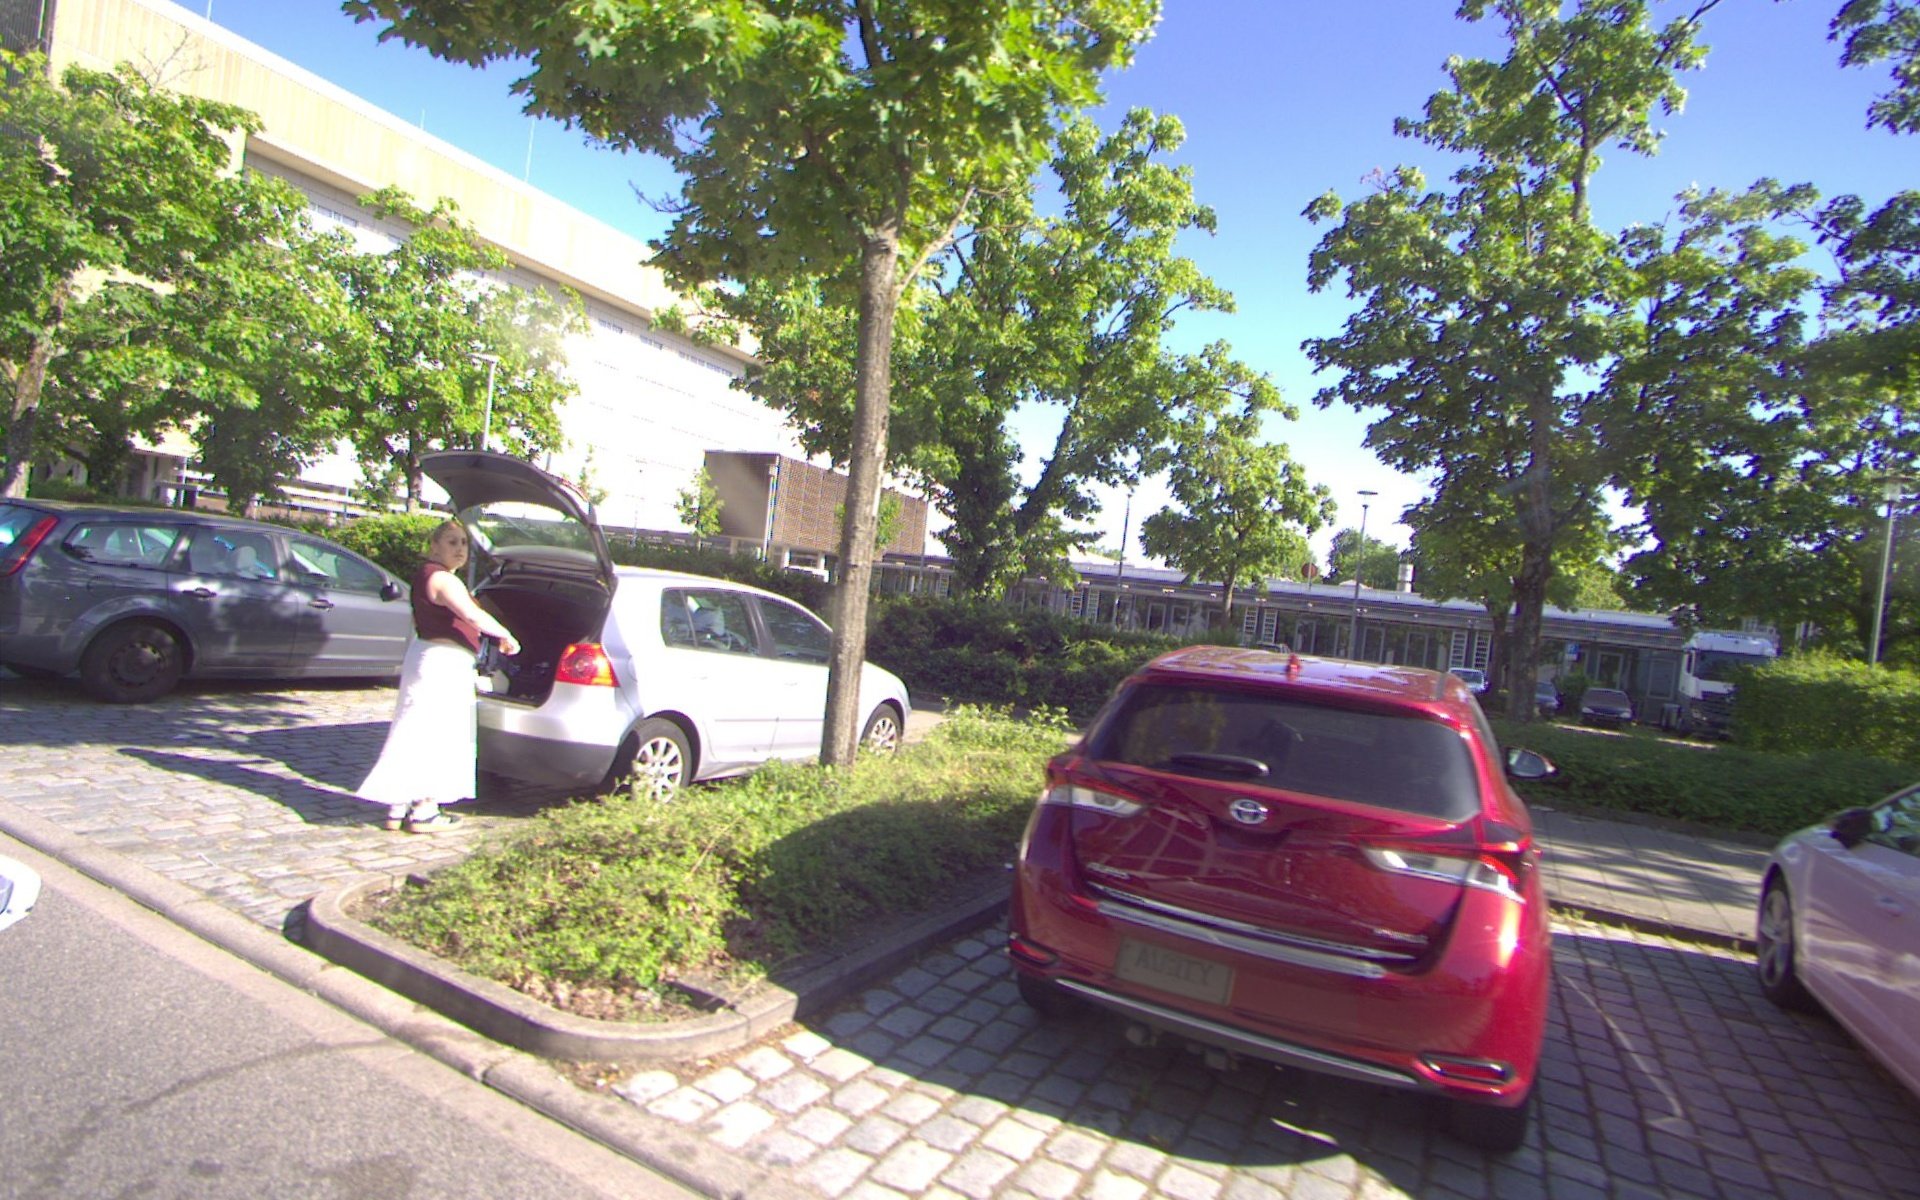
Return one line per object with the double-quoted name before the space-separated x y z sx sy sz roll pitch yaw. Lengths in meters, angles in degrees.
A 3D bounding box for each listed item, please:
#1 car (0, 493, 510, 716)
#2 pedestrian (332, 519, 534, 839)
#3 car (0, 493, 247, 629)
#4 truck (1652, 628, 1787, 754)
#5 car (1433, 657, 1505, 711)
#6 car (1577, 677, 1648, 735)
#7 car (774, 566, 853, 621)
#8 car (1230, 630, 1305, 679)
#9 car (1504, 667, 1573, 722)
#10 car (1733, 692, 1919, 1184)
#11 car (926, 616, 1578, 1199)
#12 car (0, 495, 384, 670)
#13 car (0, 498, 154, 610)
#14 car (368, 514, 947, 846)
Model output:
"car" -6.465 0.061 9.029 1.706 1.538 4.194 7 0 27
"pedestrian" -2.867 0.416 5.460 0.759 1.598 0.668 7 1 -33
"car" -11.855 -0.555 12.951 1.811 1.516 3.900 7 0 30
"truck" 27.722 3.282 37.050 2.764 3.853 6.911 8 0 31
"car" 19.860 3.277 39.185 1.870 1.704 3.990 8 0 33
"car" 23.768 3.816 36.656 1.870 1.704 4.216 8 0 33
"car" -7.911 -0.311 54.643 2.195 2.522 3.638 7 0 31
"car" 13.266 2.369 43.306 1.870 1.704 3.990 8 0 33
"car" 21.876 3.555 37.987 1.870 1.704 3.990 8 0 33
"car" 4.116 1.221 3.212 1.777 1.455 3.905 7 1 27
"car" 1.567 0.966 4.541 1.643 1.444 3.908 6 -1 27
"car" -8.393 -0.138 10.387 1.593 1.486 3.908 8 0 27
"car" -14.046 -0.766 14.179 1.811 1.434 3.738 7 0 30
"car" -1.820 0.511 7.331 1.650 1.597 3.908 8 0 27
